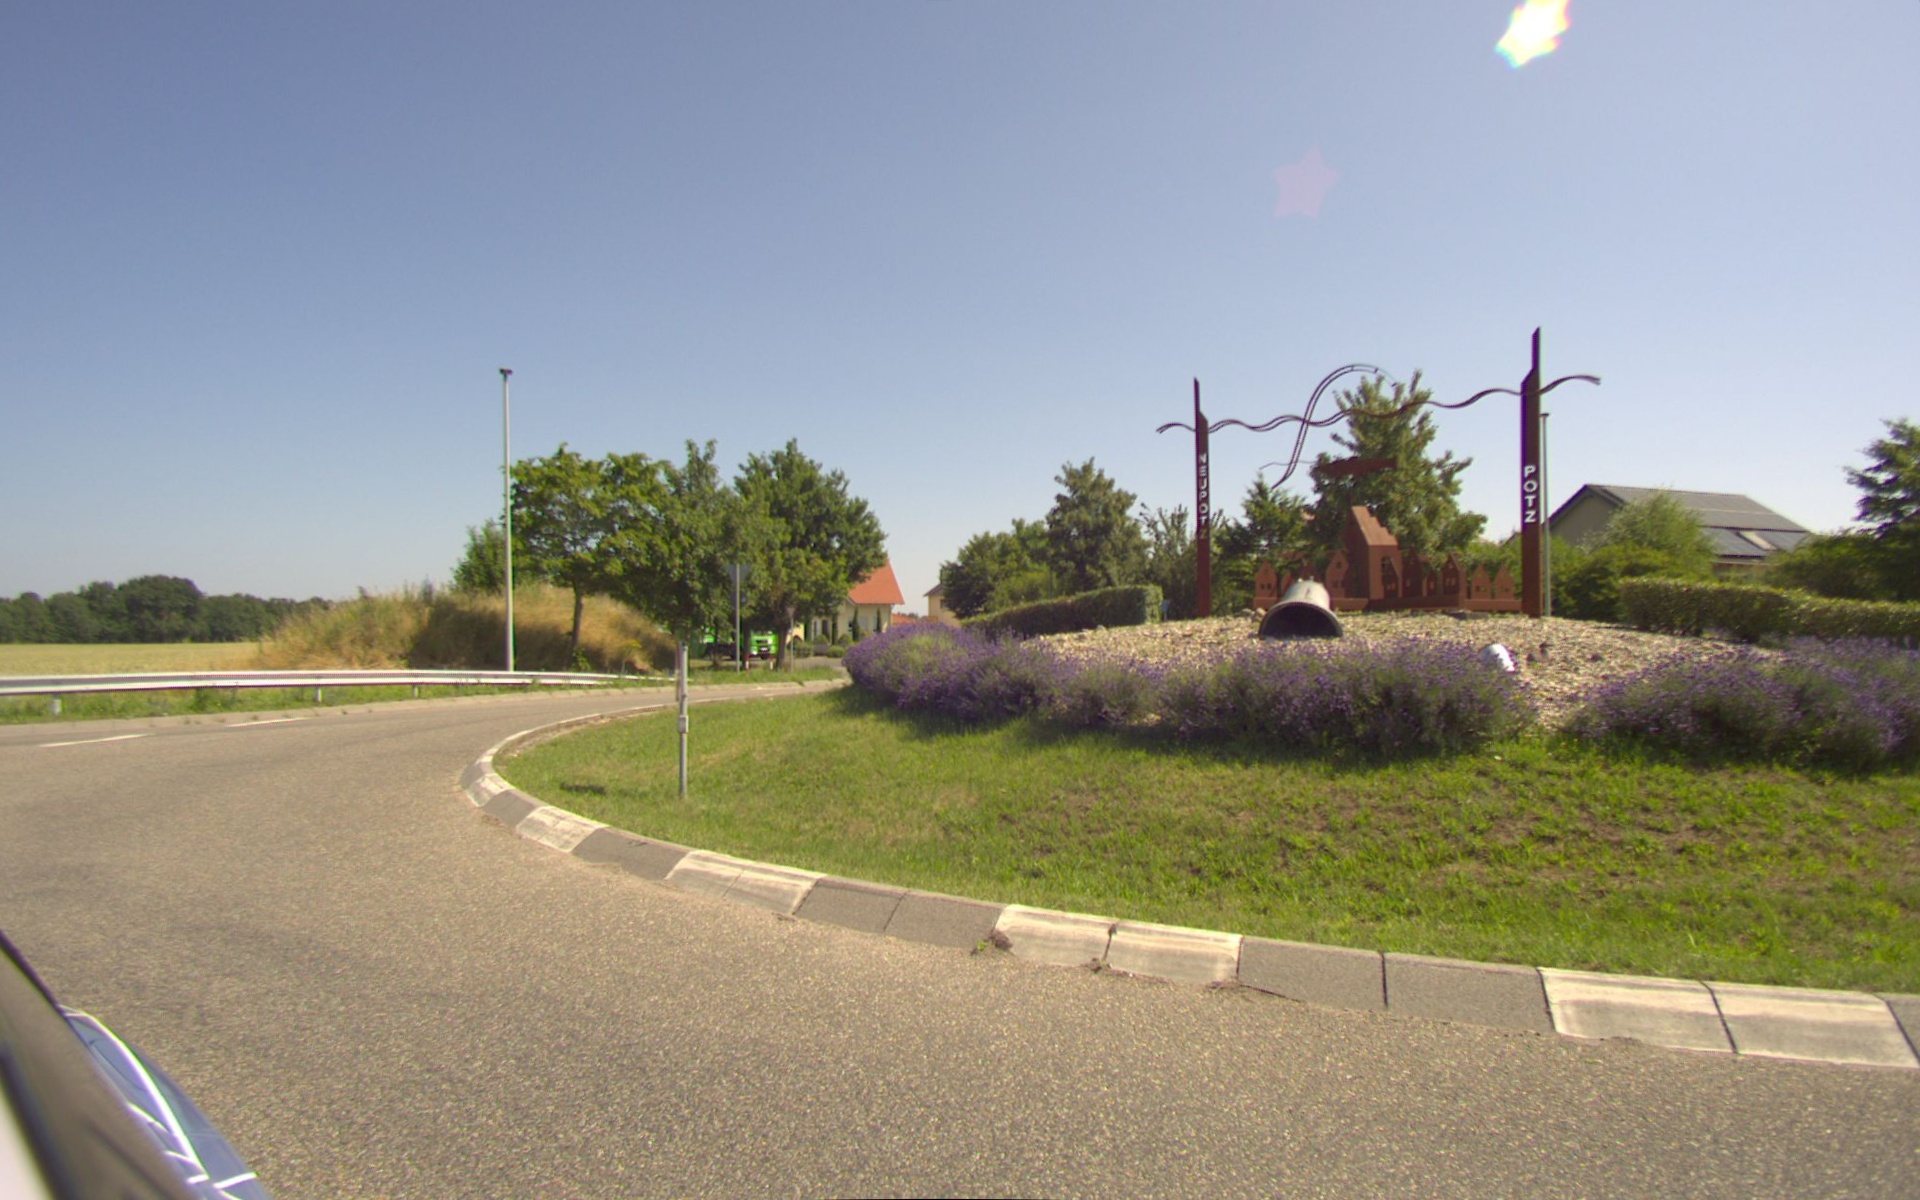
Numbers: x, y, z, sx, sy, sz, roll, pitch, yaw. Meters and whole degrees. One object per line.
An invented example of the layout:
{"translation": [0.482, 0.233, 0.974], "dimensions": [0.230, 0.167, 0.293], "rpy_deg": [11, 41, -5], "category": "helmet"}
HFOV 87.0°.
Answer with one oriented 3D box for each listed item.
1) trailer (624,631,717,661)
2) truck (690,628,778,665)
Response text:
{"translation": [-23.568, 3.665, 81.971], "dimensions": [10.489, 2.295, 1.972], "rpy_deg": [-1, -2, 42], "category": "trailer"}
{"translation": [-16.979, 3.425, 75.747], "dimensions": [7.684, 2.669, 2.487], "rpy_deg": [-1, -2, 42], "category": "truck"}
